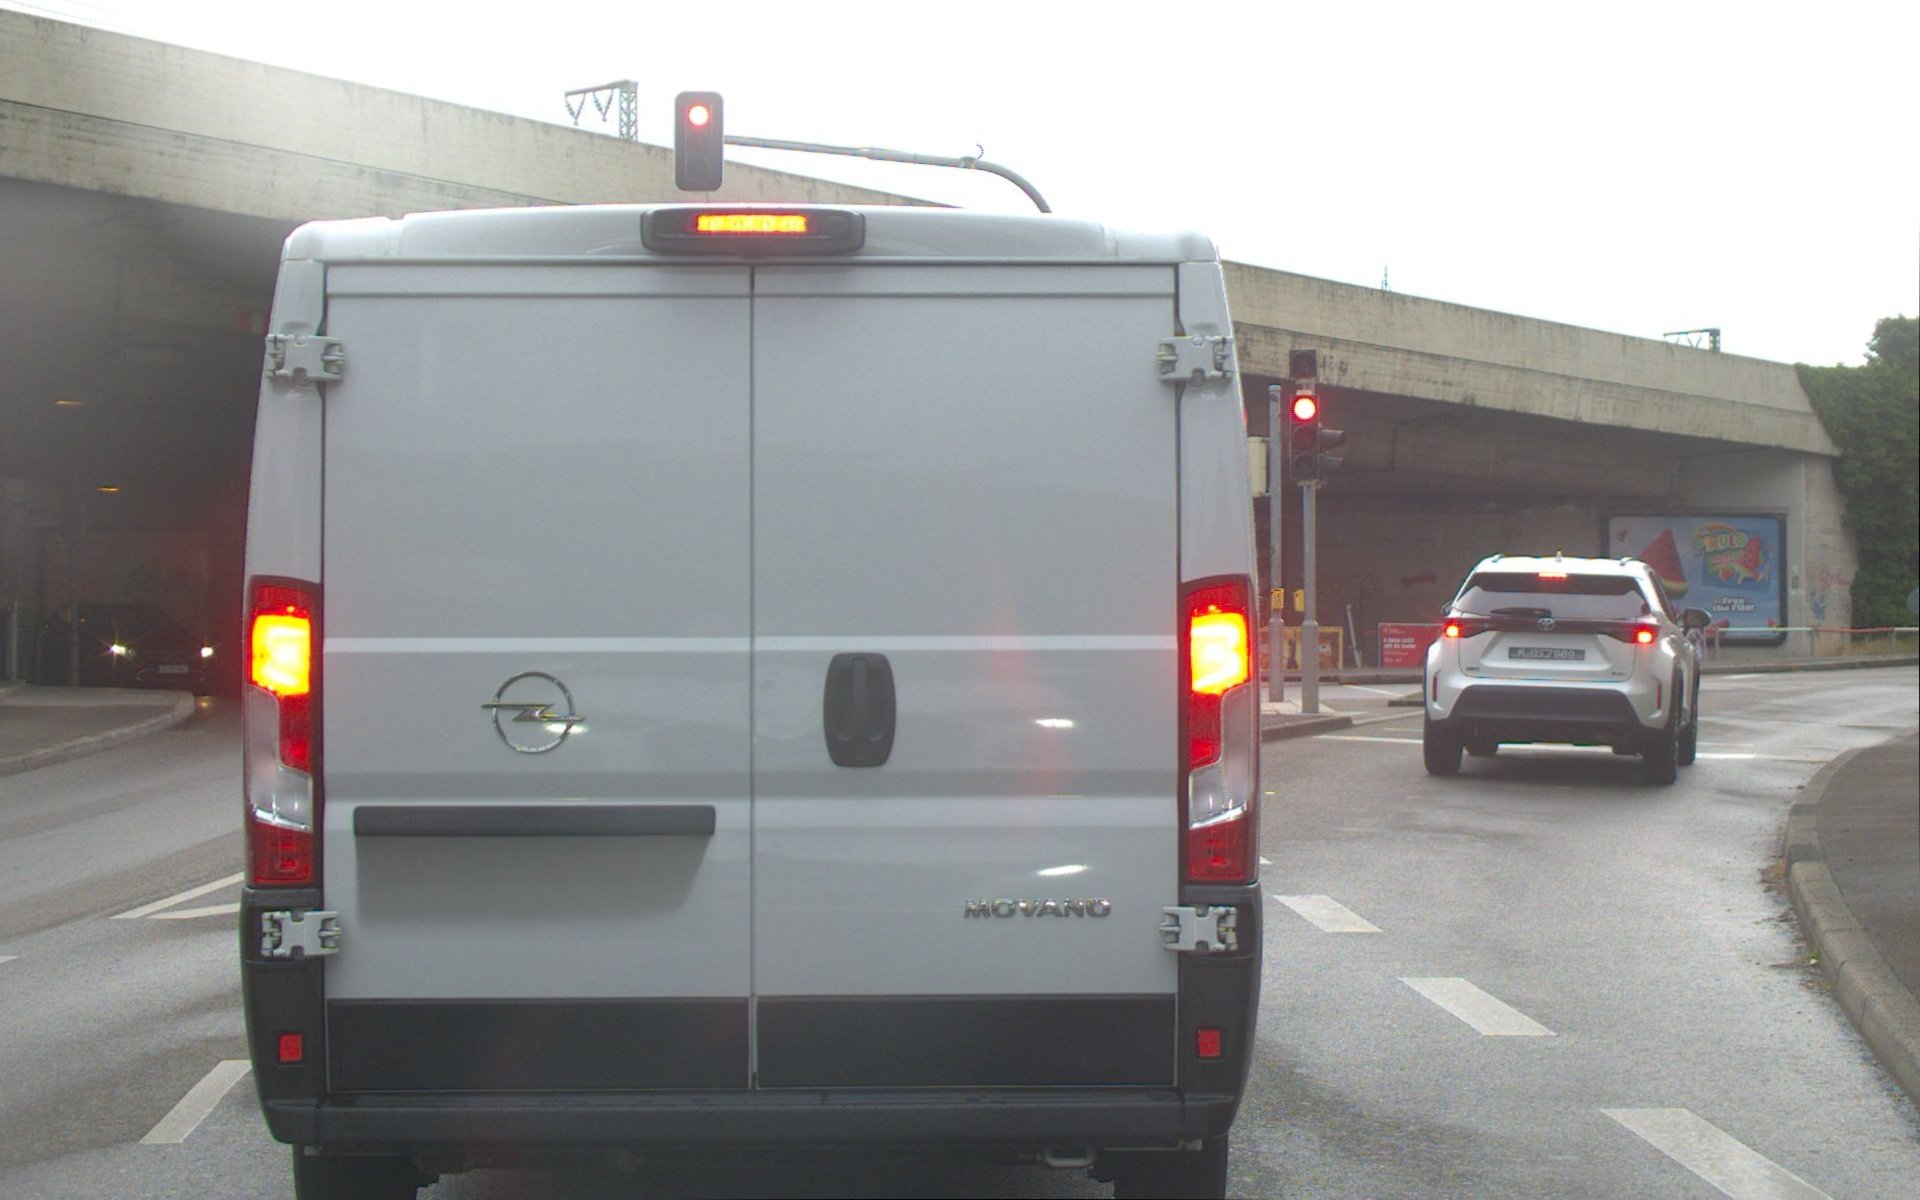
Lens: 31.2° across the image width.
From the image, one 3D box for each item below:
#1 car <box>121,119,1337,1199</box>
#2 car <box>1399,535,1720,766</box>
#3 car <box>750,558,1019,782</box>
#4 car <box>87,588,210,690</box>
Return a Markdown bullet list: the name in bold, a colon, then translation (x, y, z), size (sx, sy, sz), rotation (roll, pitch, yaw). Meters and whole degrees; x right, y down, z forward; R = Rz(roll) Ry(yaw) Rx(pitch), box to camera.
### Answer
- **car**: translation (-0.364, 0.230, 9.146), size (2.305, 2.335, 5.282), rotation (0, 1, 2)
- **car**: translation (4.481, 0.362, 25.251), size (1.995, 1.544, 3.997), rotation (0, -1, 15)
- **car**: translation (-0.549, 0.565, 28.650), size (1.994, 1.723, 3.999), rotation (0, -1, 2)
- **car**: translation (-13.604, 0.618, 57.518), size (1.914, 1.621, 4.436), rotation (0, 0, -14)
